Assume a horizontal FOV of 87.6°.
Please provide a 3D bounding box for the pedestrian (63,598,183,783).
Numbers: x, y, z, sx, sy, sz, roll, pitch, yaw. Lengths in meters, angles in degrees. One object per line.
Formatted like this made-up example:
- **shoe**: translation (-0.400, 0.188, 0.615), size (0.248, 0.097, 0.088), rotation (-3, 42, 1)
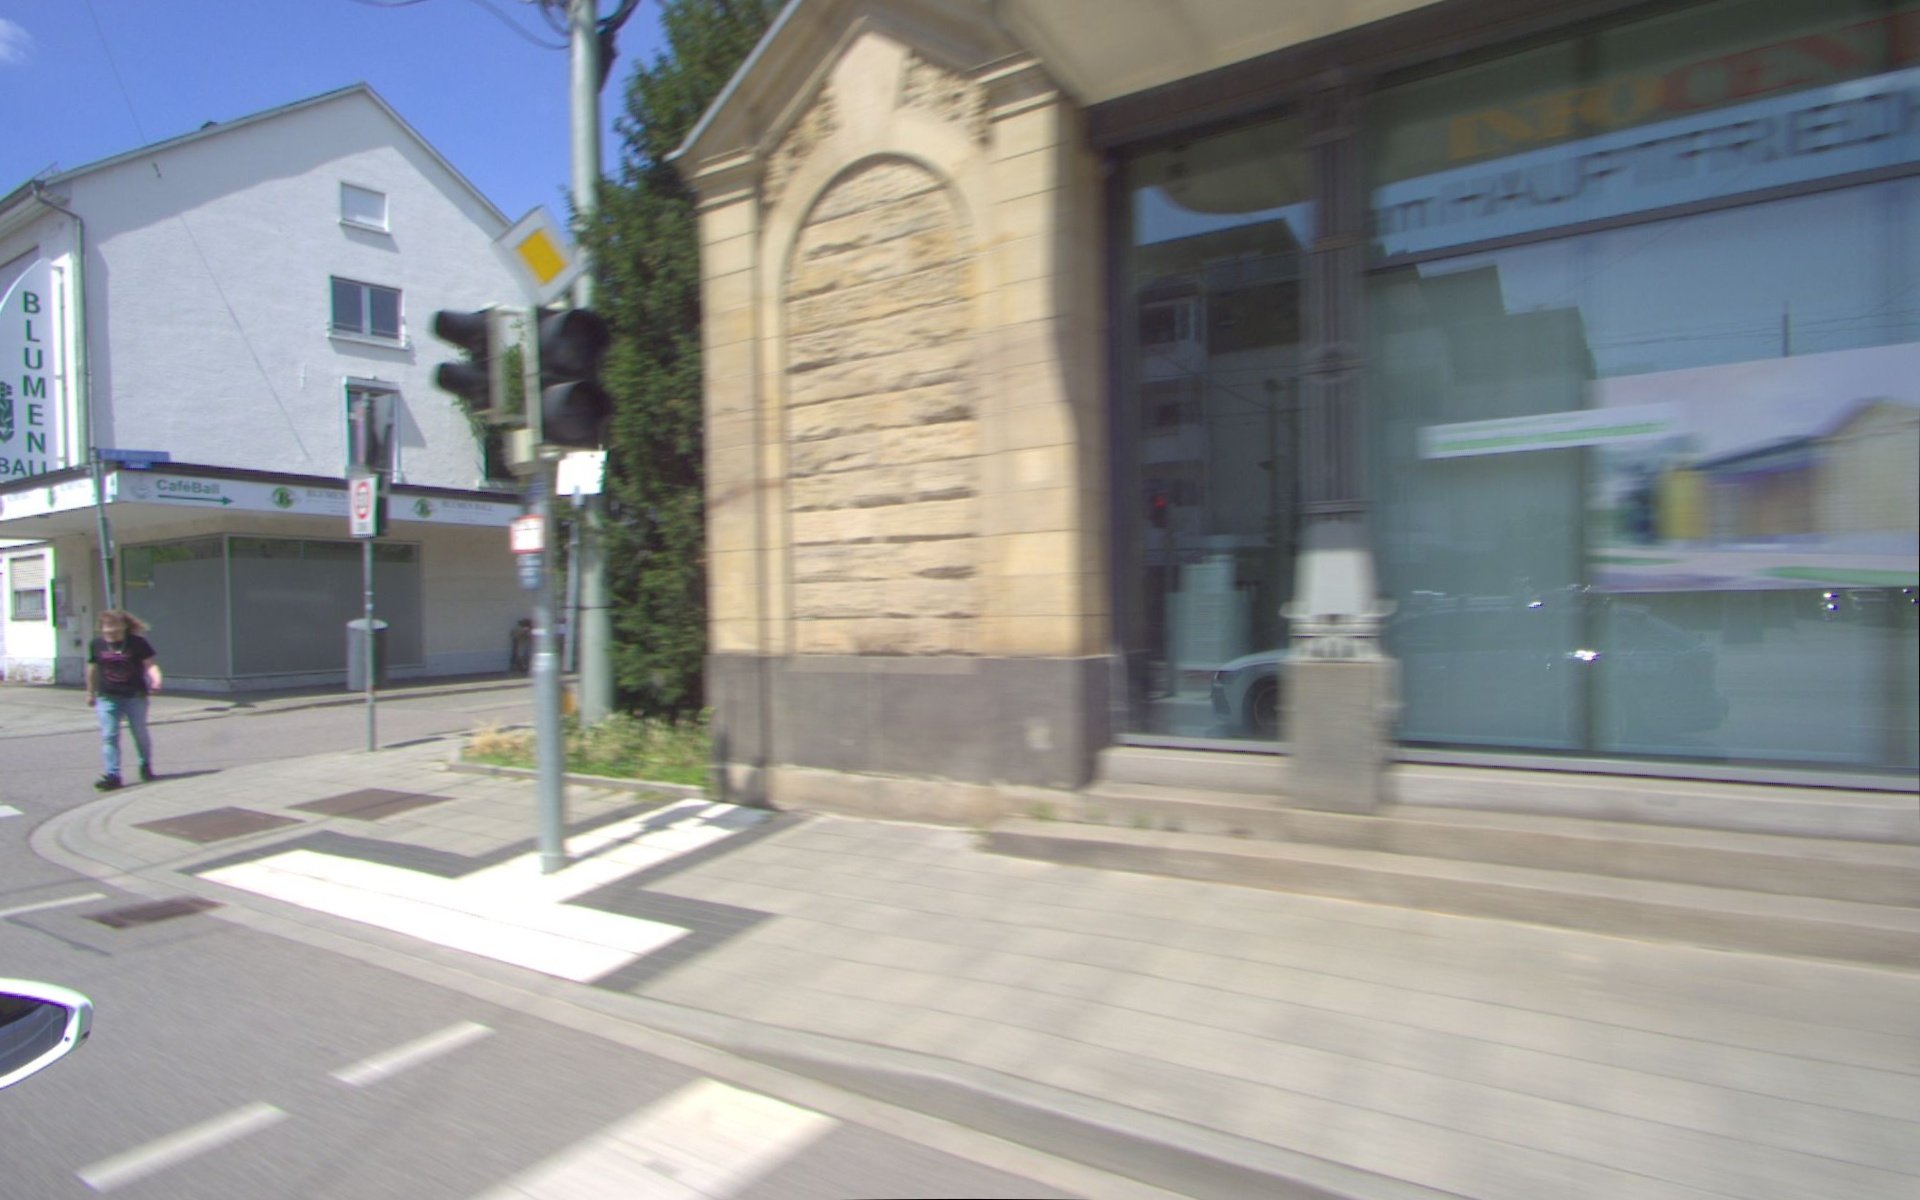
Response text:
- **pedestrian**: translation (-7.577, 0.790, 9.065), size (0.775, 1.577, 0.575), rotation (-1, 2, 35)
